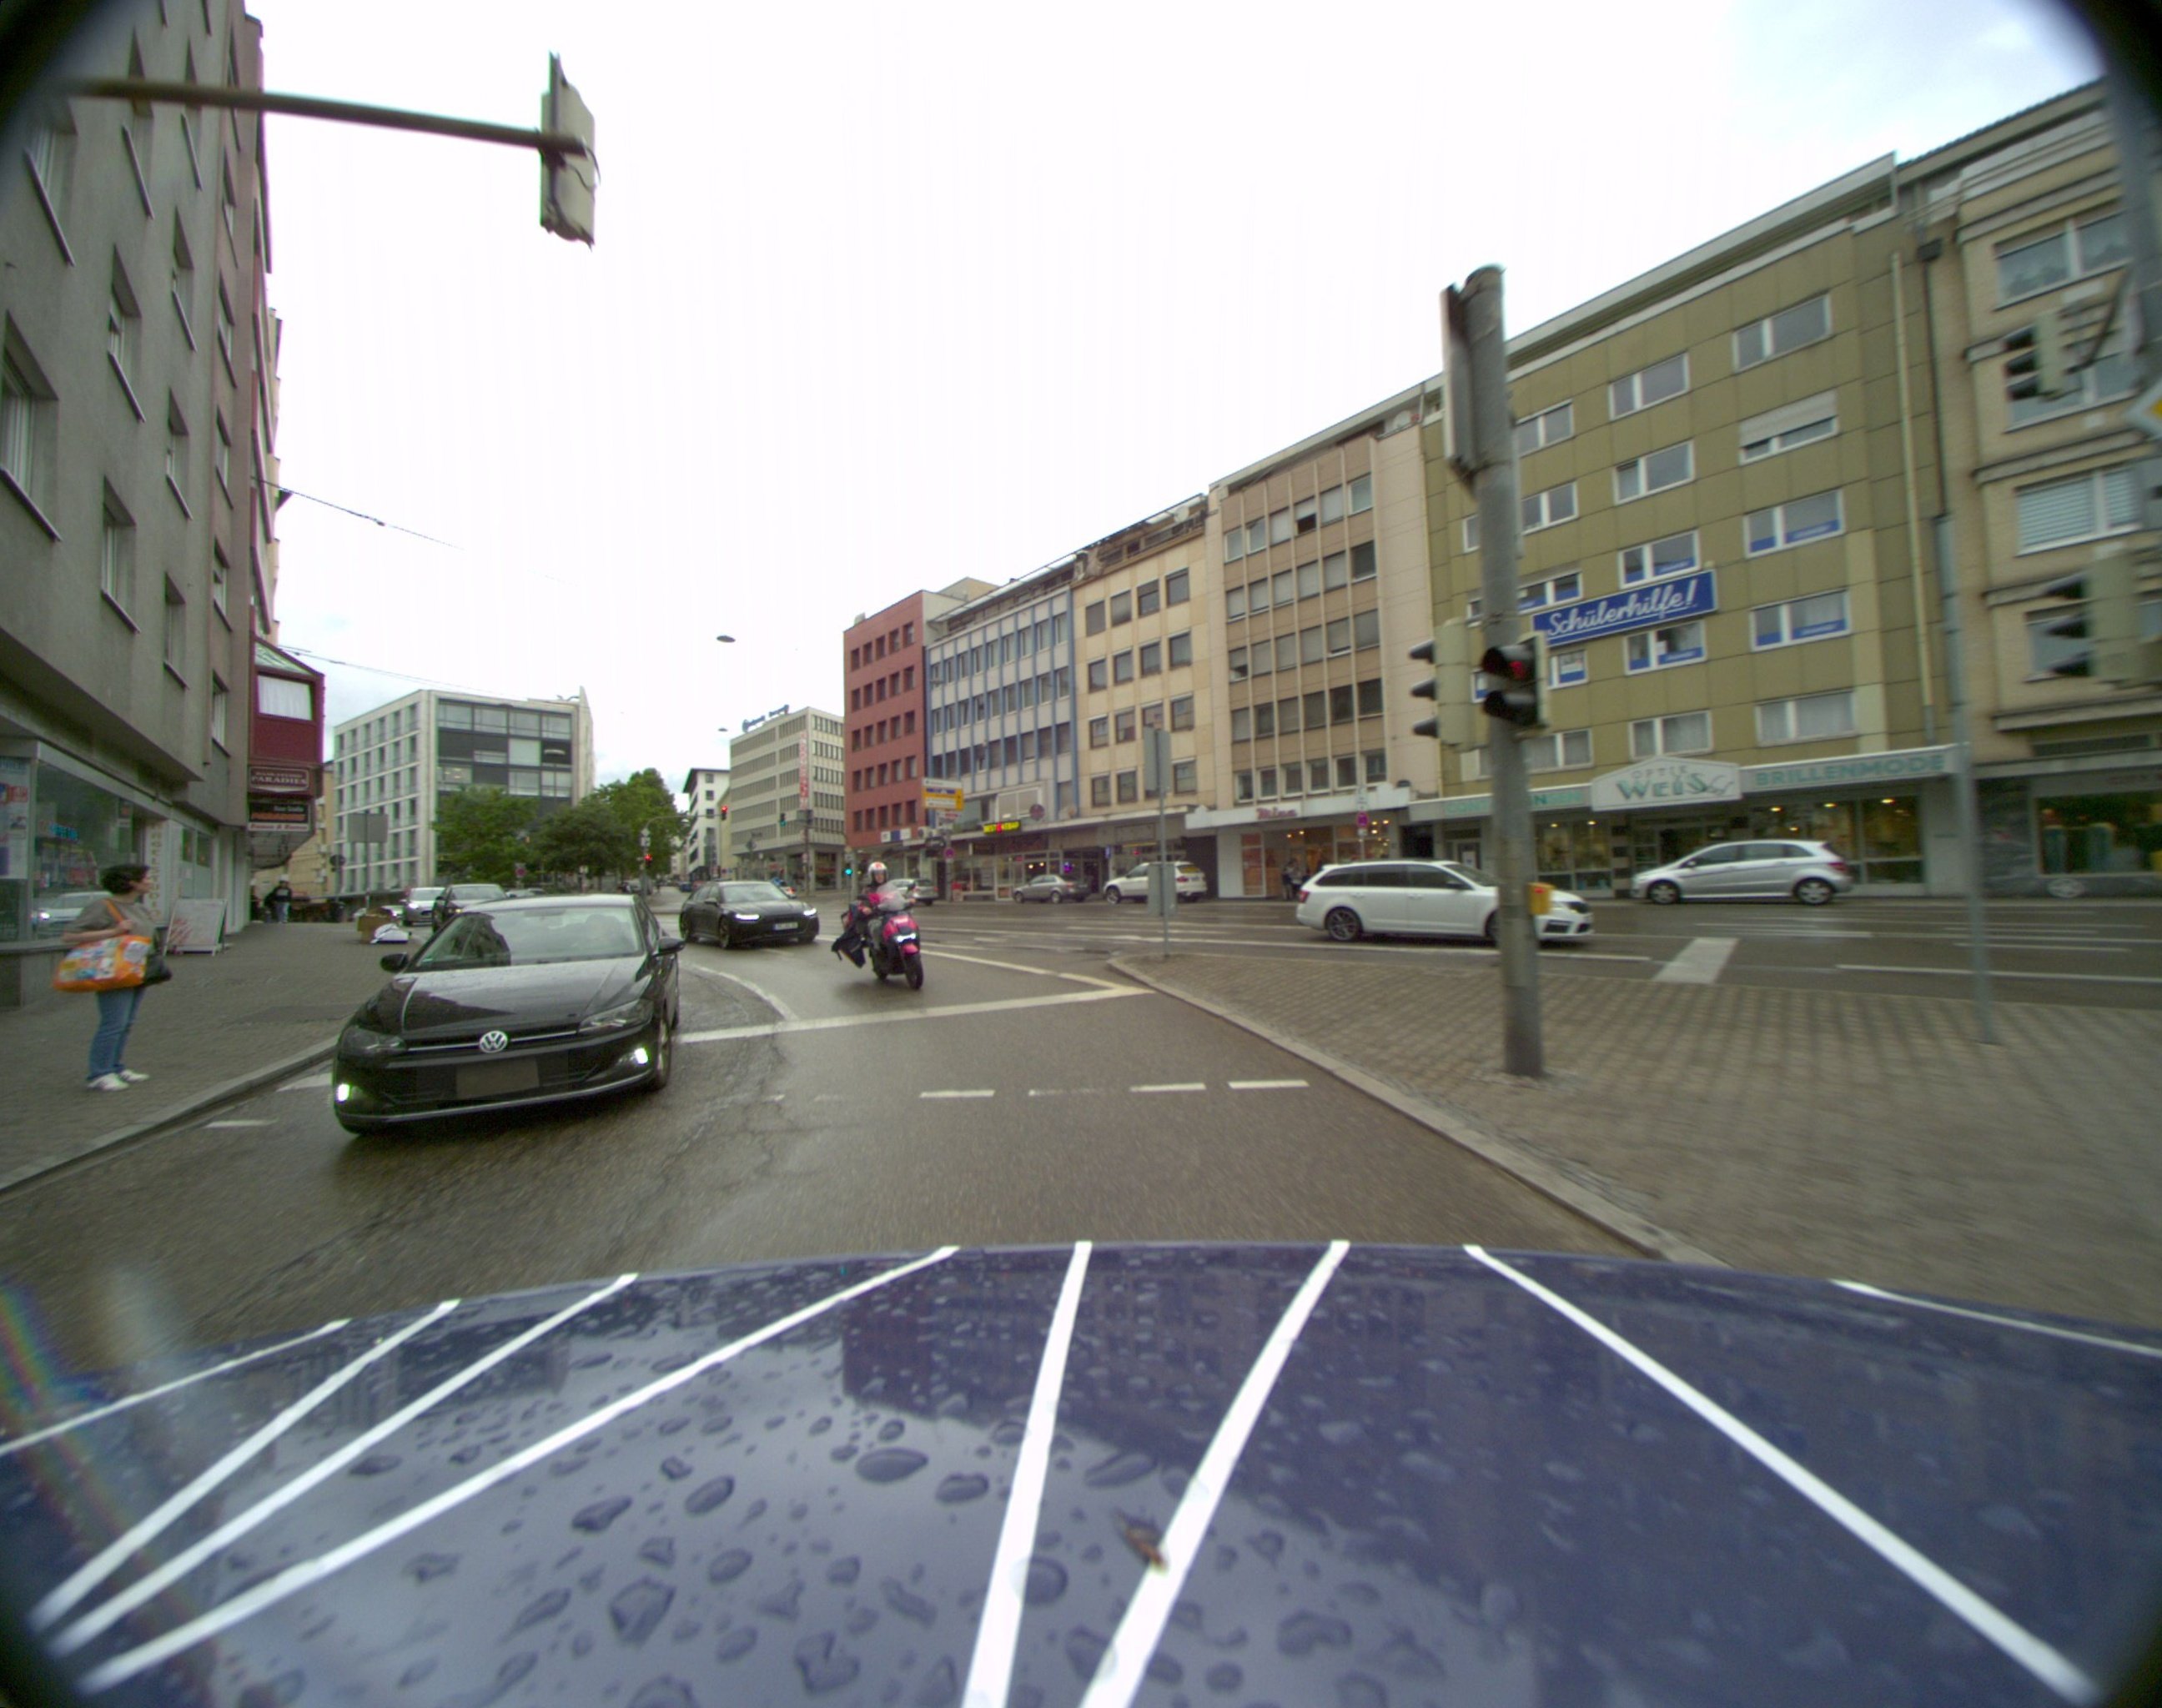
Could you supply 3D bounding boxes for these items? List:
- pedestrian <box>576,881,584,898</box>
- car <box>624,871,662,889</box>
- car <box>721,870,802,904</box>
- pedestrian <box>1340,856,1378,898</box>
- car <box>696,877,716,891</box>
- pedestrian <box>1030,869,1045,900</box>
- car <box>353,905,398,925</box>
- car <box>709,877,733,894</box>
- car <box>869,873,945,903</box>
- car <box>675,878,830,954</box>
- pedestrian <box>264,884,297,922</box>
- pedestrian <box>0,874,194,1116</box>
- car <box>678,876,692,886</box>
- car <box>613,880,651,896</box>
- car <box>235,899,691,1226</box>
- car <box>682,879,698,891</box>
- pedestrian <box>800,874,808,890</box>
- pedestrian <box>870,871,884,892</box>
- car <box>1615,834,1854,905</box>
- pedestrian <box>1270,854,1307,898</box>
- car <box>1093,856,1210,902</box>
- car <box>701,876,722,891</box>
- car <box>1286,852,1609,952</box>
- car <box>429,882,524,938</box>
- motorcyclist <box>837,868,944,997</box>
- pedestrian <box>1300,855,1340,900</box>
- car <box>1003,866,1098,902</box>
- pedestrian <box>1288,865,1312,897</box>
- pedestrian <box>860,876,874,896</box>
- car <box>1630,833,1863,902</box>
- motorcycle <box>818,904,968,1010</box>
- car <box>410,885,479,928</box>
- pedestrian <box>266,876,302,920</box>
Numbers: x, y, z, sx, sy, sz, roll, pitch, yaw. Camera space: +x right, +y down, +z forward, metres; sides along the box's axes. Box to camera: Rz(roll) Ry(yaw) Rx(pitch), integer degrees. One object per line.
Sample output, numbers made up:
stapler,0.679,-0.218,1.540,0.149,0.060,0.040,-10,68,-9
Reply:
pedestrian,-56.655,4.010,85.938,0.594,1.803,0.703,-4,-1,-28
car,-58.568,3.468,101.565,3.835,2.252,1.984,-3,1,-6
car,-16.481,1.708,39.080,4.417,1.542,2.004,-4,-1,40
pedestrian,10.161,0.835,27.781,1.062,1.475,0.670,-3,0,44
car,-50.023,4.063,101.369,1.937,1.662,4.436,-3,-1,-32
pedestrian,-2.396,1.665,41.462,0.448,1.698,0.582,-3,-1,-44
car,-60.843,5.269,65.532,3.990,1.489,1.814,-4,-1,33
car,-39.293,3.453,82.950,2.005,1.621,4.605,-3,-1,-29
car,-9.382,1.833,40.657,1.795,1.437,4.741,-2,-1,-43
car,-7.831,1.358,17.840,2.004,1.482,4.722,-1,-1,-40
pedestrian,-37.567,2.294,35.668,0.755,1.712,0.752,-3,0,-25
pedestrian,-7.461,0.998,5.730,0.628,1.682,0.781,1,0,-9
car,-76.497,5.250,146.820,2.030,1.638,4.418,-3,-1,-32
car,-51.155,3.834,86.656,3.551,1.550,1.736,-3,1,-28
car,-4.245,1.191,6.008,1.745,1.422,3.873,-3,0,-24
car,-63.920,5.097,124.259,2.030,1.830,4.037,-3,-1,-30
pedestrian,-30.140,3.045,82.748,0.716,1.613,0.722,-1,-1,-27
pedestrian,-17.662,2.371,65.829,0.732,1.737,0.744,-4,0,16
car,16.447,0.433,19.304,4.389,1.541,1.857,-4,-1,44
pedestrian,8.479,0.902,31.049,0.955,1.703,1.089,-3,-1,-14
car,2.976,1.090,32.862,1.859,1.816,4.951,-2,-1,-44
car,-46.433,3.733,95.532,2.030,1.739,4.605,-3,-1,-29
car,6.082,0.776,13.047,4.619,1.407,1.802,-3,-2,44
car,-19.276,1.747,24.170,1.876,1.538,4.093,-3,-1,-45
motorcyclist,-2.593,1.017,10.297,1.095,1.595,0.951,-2,-1,-33
pedestrian,9.350,0.920,29.739,1.084,1.685,0.957,-4,-1,44
car,-1.569,1.478,37.416,1.875,1.599,4.867,-2,-1,-44
pedestrian,8.814,1.091,30.592,0.719,1.242,0.537,-4,-1,44
pedestrian,-17.731,2.627,62.938,0.693,1.620,0.734,-4,0,19
car,16.536,0.365,19.042,1.709,1.554,4.191,-2,-1,-43
motorcycle,-2.604,1.304,10.316,1.316,1.128,2.180,-2,-1,-33
car,-26.381,2.163,31.465,2.004,1.574,4.094,-2,-2,-42
pedestrian,-32.027,1.782,30.529,0.616,1.752,0.840,-5,-6,37
